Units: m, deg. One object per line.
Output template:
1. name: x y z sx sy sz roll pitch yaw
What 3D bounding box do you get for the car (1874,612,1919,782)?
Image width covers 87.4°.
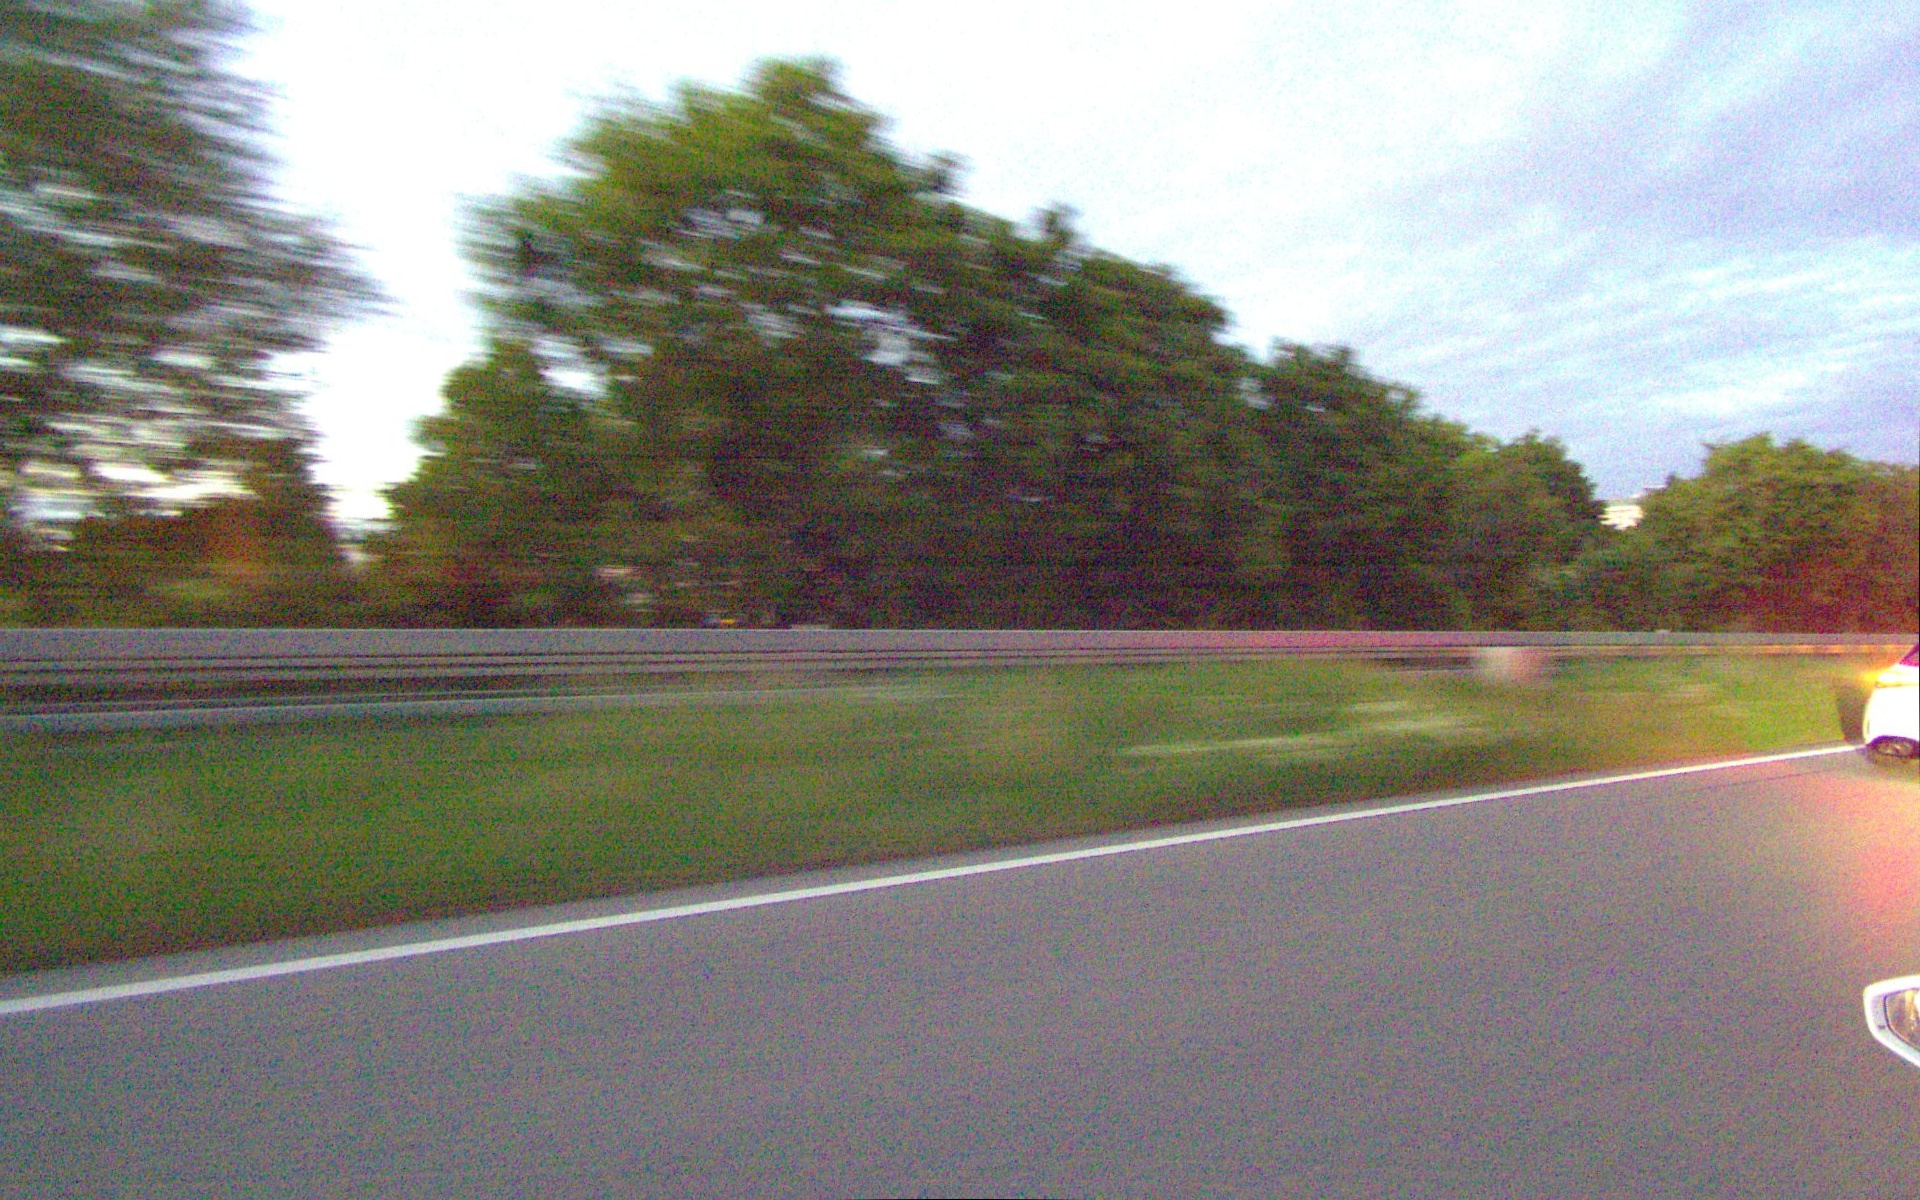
1. car: 10.741 0.922 9.682 4.527 1.510 1.633 1 0 -31
